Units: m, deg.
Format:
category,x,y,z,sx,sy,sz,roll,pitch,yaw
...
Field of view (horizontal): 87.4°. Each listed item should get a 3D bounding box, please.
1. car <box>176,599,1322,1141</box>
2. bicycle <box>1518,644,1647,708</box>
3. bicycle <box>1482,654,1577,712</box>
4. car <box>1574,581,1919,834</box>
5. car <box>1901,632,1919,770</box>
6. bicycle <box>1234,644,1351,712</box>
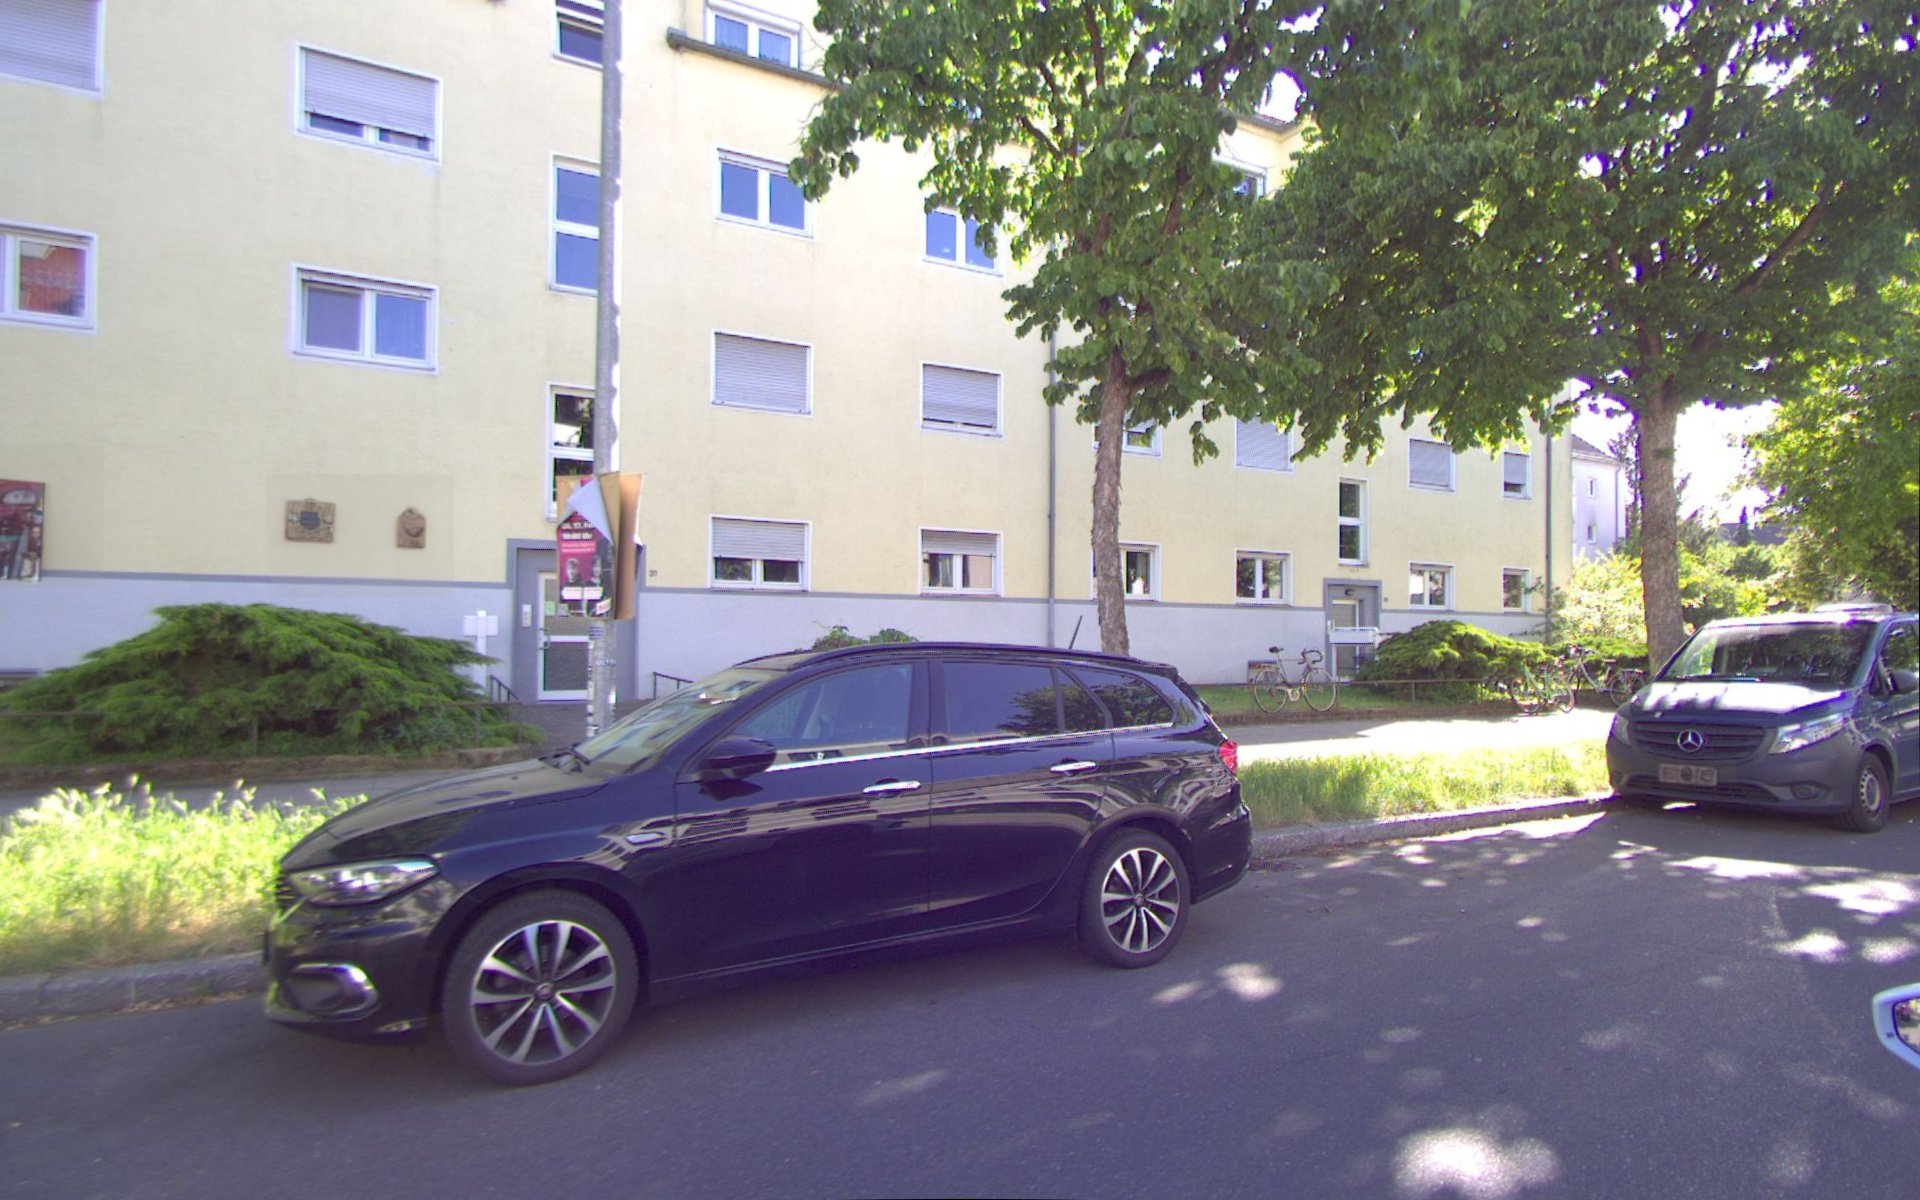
category,x,y,z,sx,sy,sz,roll,pitch,yaw
car,-0.554,0.890,4.751,4.720,1.568,1.502,2,-4,-29
bicycle,12.600,1.504,20.396,0.684,1.224,2.129,2,-3,-38
bicycle,10.441,1.497,18.391,1.904,1.004,0.592,1,-2,-28
car,8.386,0.927,9.694,5.077,1.929,1.820,1,-3,-28
car,13.450,1.212,12.352,4.180,1.632,1.605,2,-3,-31
bicycle,5.211,1.199,15.703,1.904,1.004,0.592,1,-2,-28
